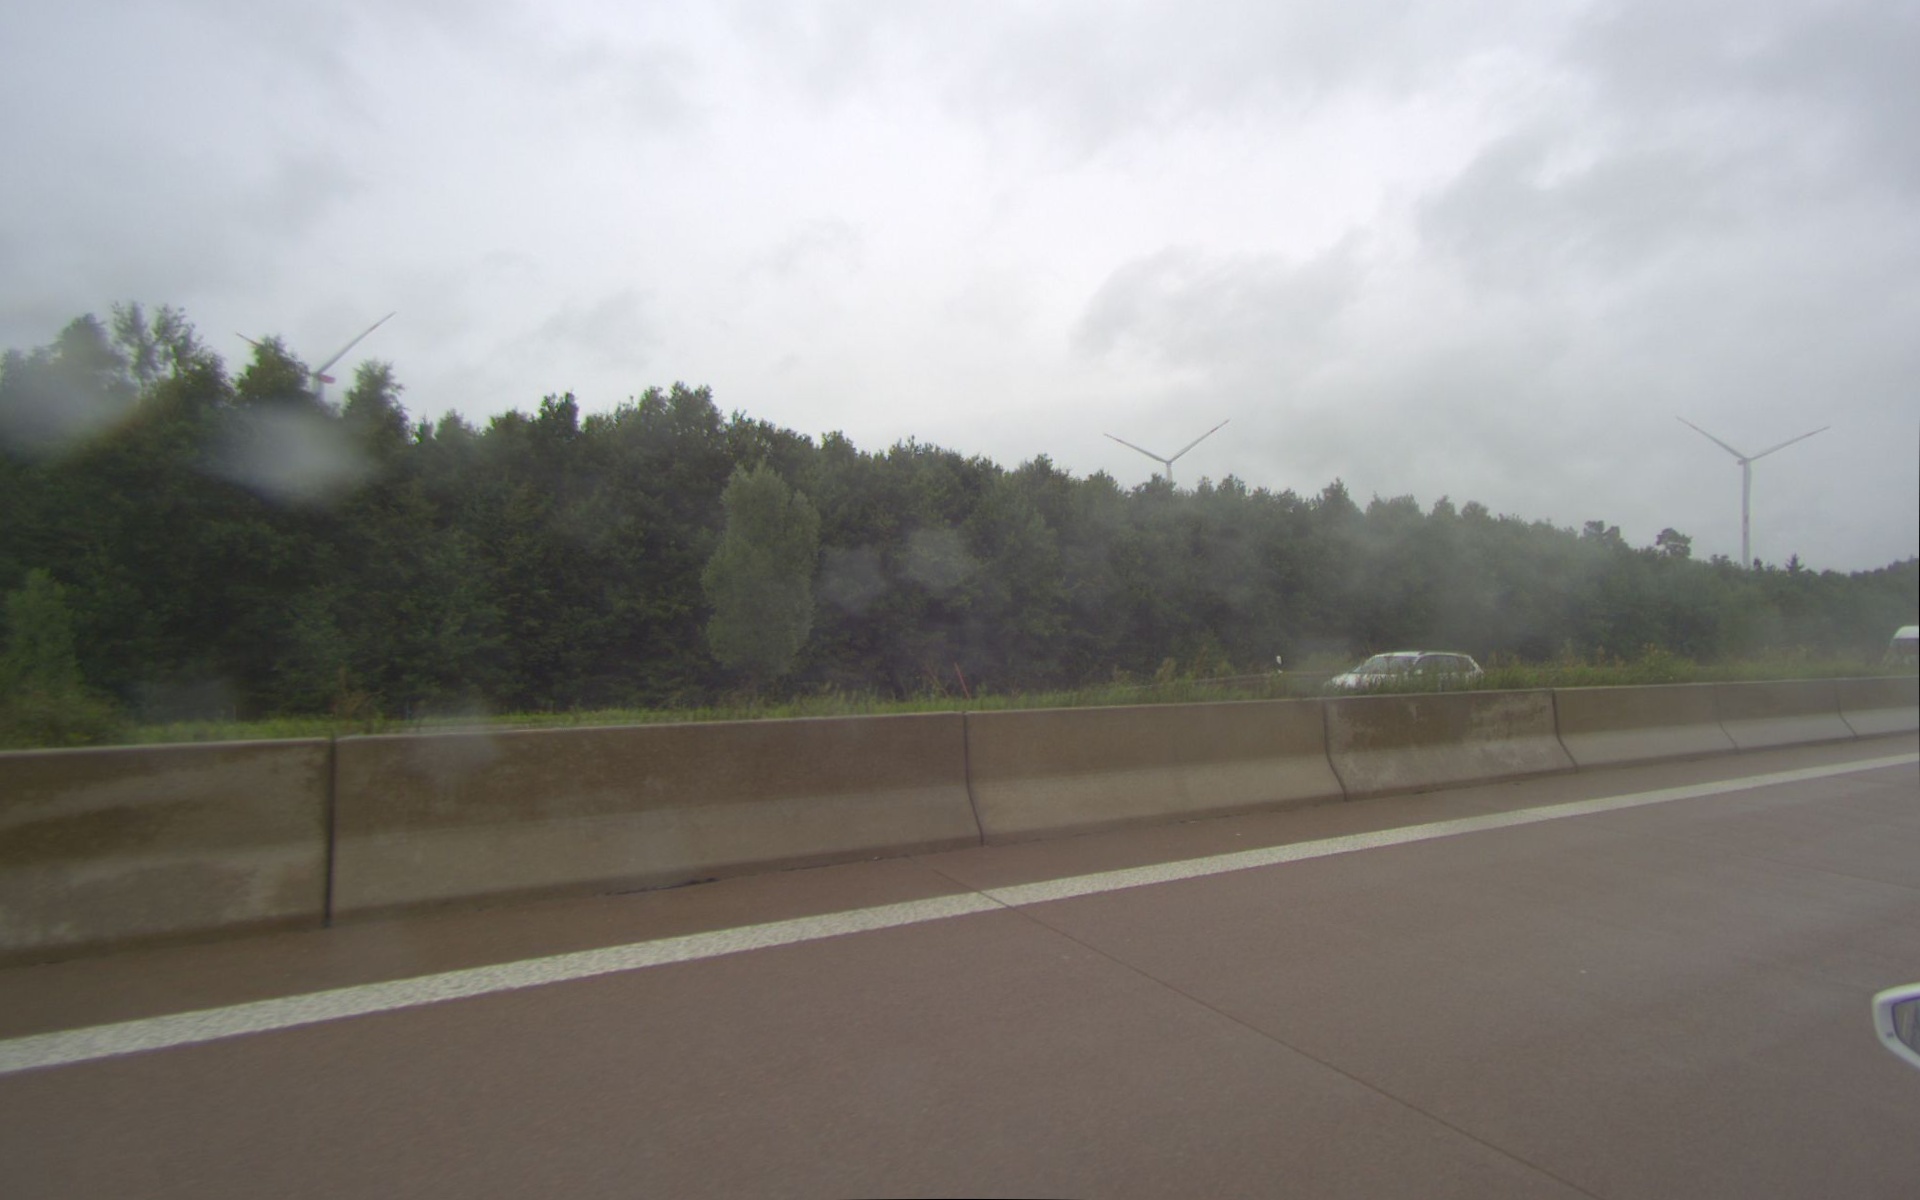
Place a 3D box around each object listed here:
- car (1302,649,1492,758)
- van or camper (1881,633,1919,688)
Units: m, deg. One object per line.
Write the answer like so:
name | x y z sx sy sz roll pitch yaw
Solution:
car | 9.877 2.230 22.676 3.956 2.041 1.982 1 3 -33
van or camper | 41.824 2.570 43.073 5.660 2.235 2.117 2 -1 -33
